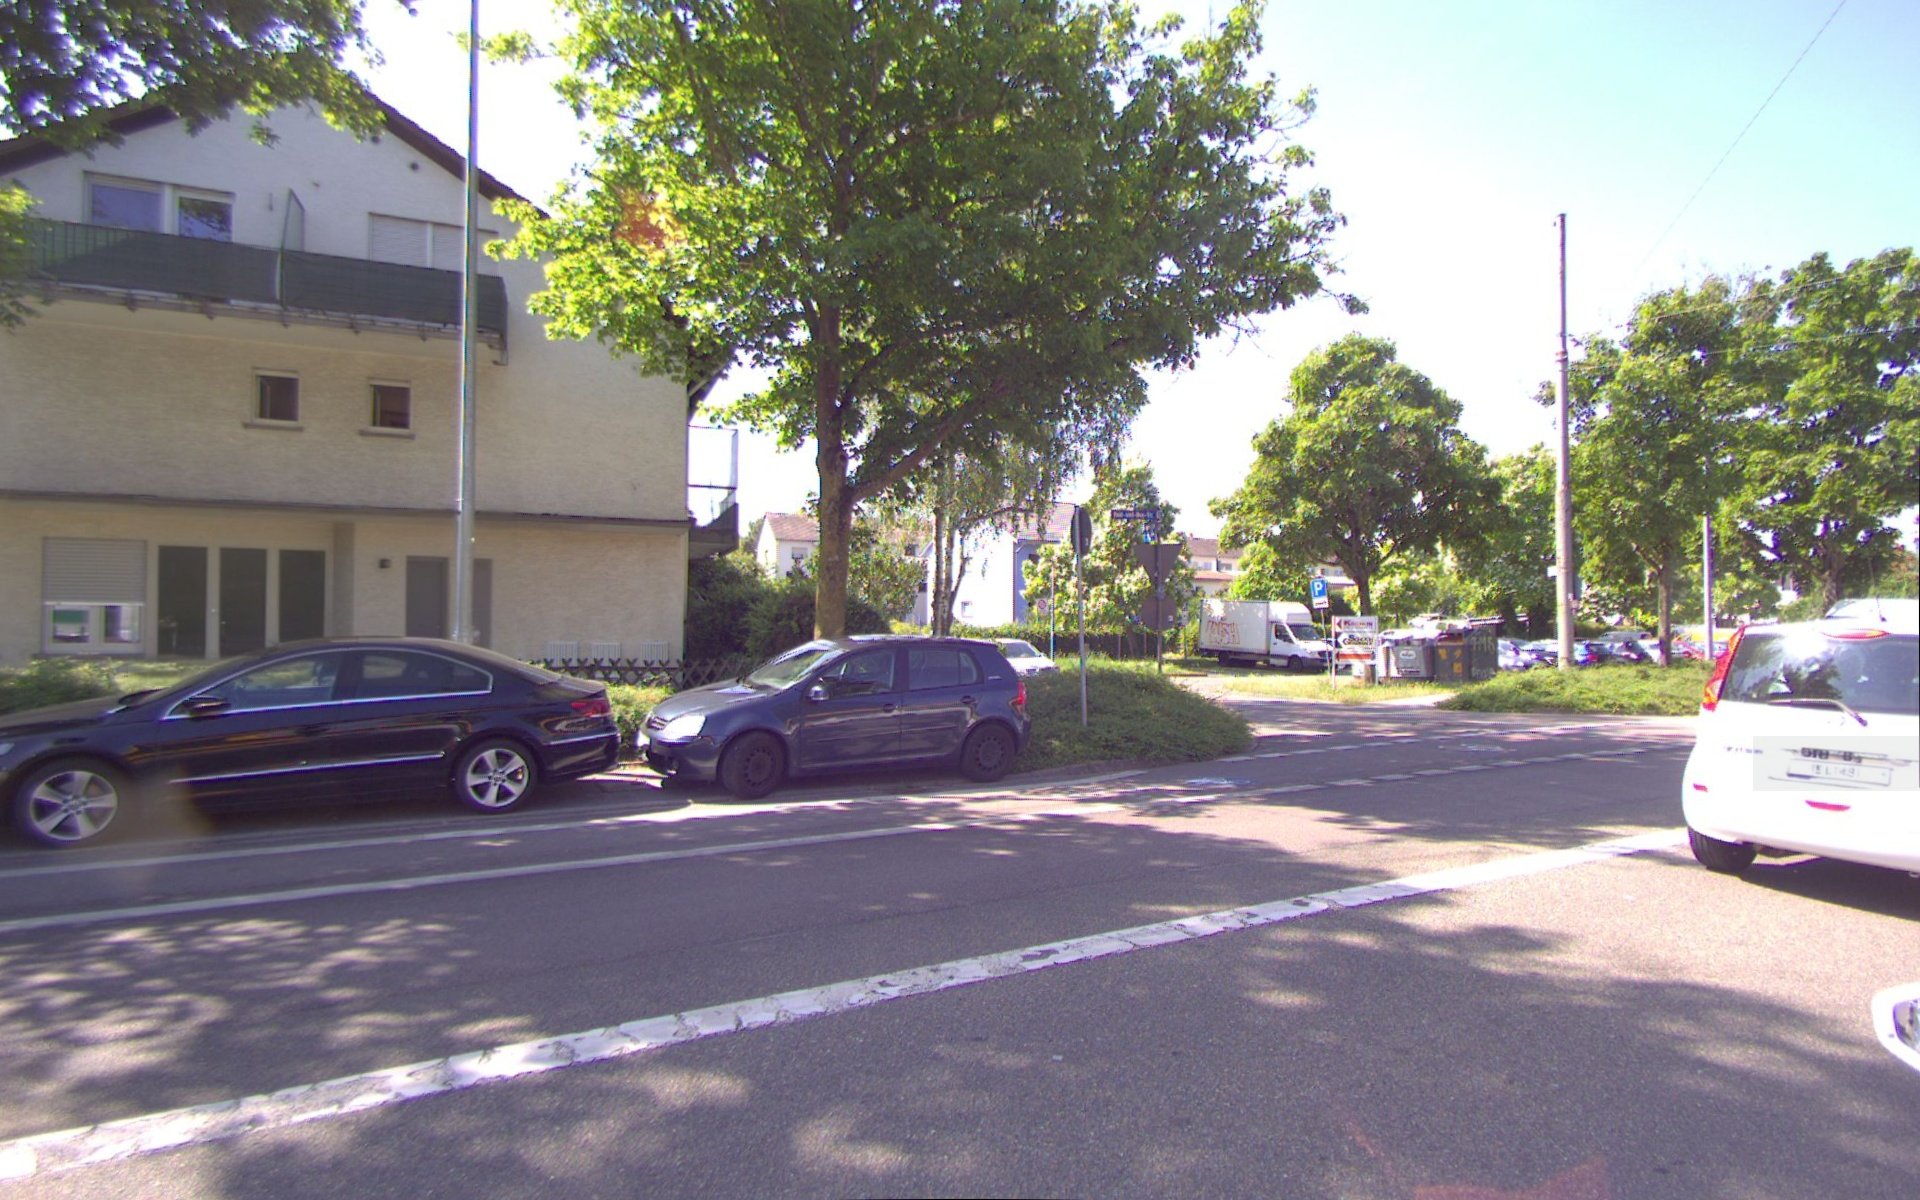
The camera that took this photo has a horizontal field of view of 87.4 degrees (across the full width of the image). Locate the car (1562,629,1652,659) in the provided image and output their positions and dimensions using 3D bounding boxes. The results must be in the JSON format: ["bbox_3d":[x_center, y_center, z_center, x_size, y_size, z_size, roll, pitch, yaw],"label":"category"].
[{"bbox_3d":[44.543,3.004,69.267,2.043,1.811,4.762,2,0,-34],"label":"car"}]

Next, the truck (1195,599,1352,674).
[{"bbox_3d":[14.432,1.601,46.823,2.646,3.151,6.967,1,0,-30],"label":"truck"}]

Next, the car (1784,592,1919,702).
[{"bbox_3d":[23.800,1.143,25.755,5.745,2.550,2.114,1,0,-29],"label":"car"}]

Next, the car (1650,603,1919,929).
[{"bbox_3d":[6.399,0.846,6.275,4.491,1.568,1.655,1,-1,-29],"label":"car"}]

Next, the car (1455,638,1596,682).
[{"bbox_3d":[19.675,2.079,35.084,1.712,1.434,3.964,2,-4,-33],"label":"car"}]

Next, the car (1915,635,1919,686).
[{"bbox_3d":[29.419,1.779,28.790,4.230,1.434,1.854,1,0,-31],"label":"car"}]

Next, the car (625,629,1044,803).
[{"bbox_3d":[-1.273,1.077,10.474,3.988,1.462,1.718,1,0,-28],"label":"car"}]

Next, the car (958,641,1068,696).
[{"bbox_3d":[1.419,1.916,28.432,1.704,1.434,3.983,1,-3,-20],"label":"car"}]

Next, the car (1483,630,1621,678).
[{"bbox_3d":[21.425,1.977,36.489,1.712,1.631,3.964,2,-4,-33],"label":"car"}]

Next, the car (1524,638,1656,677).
[{"bbox_3d":[24.183,2.219,38.694,1.712,1.434,3.964,2,-4,-33],"label":"car"}]

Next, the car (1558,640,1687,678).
[{"bbox_3d":[26.388,2.339,40.132,1.712,1.434,3.964,2,-4,-33],"label":"car"}]

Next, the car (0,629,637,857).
[{"bbox_3d":[-5.234,1.003,8.346,4.568,1.434,1.854,1,0,-31],"label":"car"}]

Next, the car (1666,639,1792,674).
[{"bbox_3d":[33.177,2.453,43.429,1.712,1.434,3.964,2,-4,-33],"label":"car"}]

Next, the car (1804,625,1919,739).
[{"bbox_3d":[14.601,1.196,15.218,3.538,1.573,1.668,1,-3,-31],"label":"car"}]

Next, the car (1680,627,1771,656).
[{"bbox_3d":[54.451,2.920,71.511,2.043,1.811,4.762,2,0,-34],"label":"car"}]

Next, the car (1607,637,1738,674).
[{"bbox_3d":[28.809,2.249,40.738,1.712,1.434,3.964,2,-4,-33],"label":"car"}]

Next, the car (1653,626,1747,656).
[{"bbox_3d":[50.567,2.787,68.683,2.043,1.811,4.762,2,0,-34],"label":"car"}]

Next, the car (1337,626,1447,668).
[{"bbox_3d":[21.725,2.336,50.701,2.043,1.811,4.762,2,0,-34],"label":"car"}]

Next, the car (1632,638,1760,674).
[{"bbox_3d":[30.754,2.340,42.060,1.712,1.434,3.964,2,-4,-33],"label":"car"}]

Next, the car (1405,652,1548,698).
[{"bbox_3d":[17.333,2.495,33.882,1.712,1.434,3.964,2,-4,-33],"label":"car"}]
